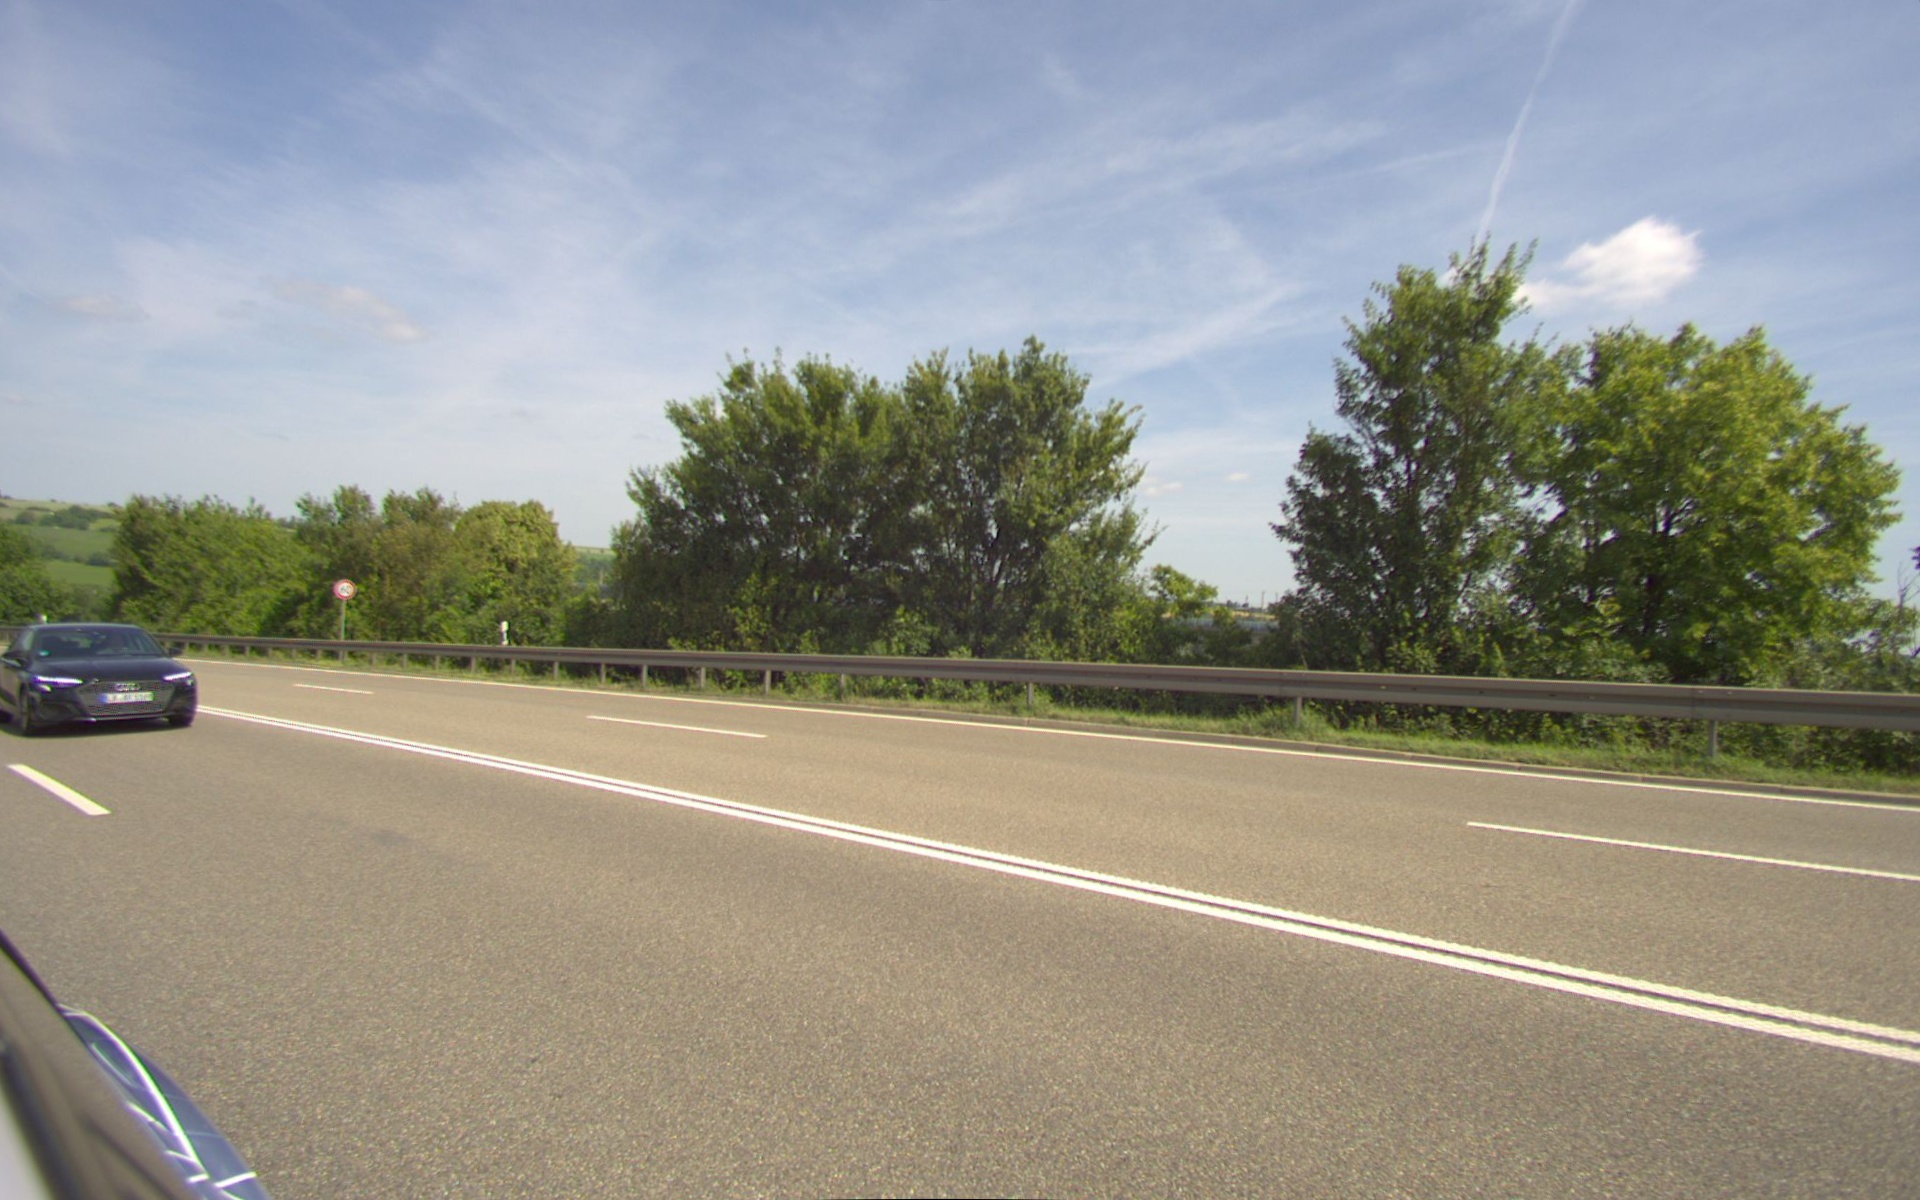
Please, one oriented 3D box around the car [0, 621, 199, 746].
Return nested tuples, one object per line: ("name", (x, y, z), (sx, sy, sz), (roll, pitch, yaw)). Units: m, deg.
("car", (-12.467, 1.046, 14.283), (4.806, 1.483, 1.688), (-1, -2, 40))
